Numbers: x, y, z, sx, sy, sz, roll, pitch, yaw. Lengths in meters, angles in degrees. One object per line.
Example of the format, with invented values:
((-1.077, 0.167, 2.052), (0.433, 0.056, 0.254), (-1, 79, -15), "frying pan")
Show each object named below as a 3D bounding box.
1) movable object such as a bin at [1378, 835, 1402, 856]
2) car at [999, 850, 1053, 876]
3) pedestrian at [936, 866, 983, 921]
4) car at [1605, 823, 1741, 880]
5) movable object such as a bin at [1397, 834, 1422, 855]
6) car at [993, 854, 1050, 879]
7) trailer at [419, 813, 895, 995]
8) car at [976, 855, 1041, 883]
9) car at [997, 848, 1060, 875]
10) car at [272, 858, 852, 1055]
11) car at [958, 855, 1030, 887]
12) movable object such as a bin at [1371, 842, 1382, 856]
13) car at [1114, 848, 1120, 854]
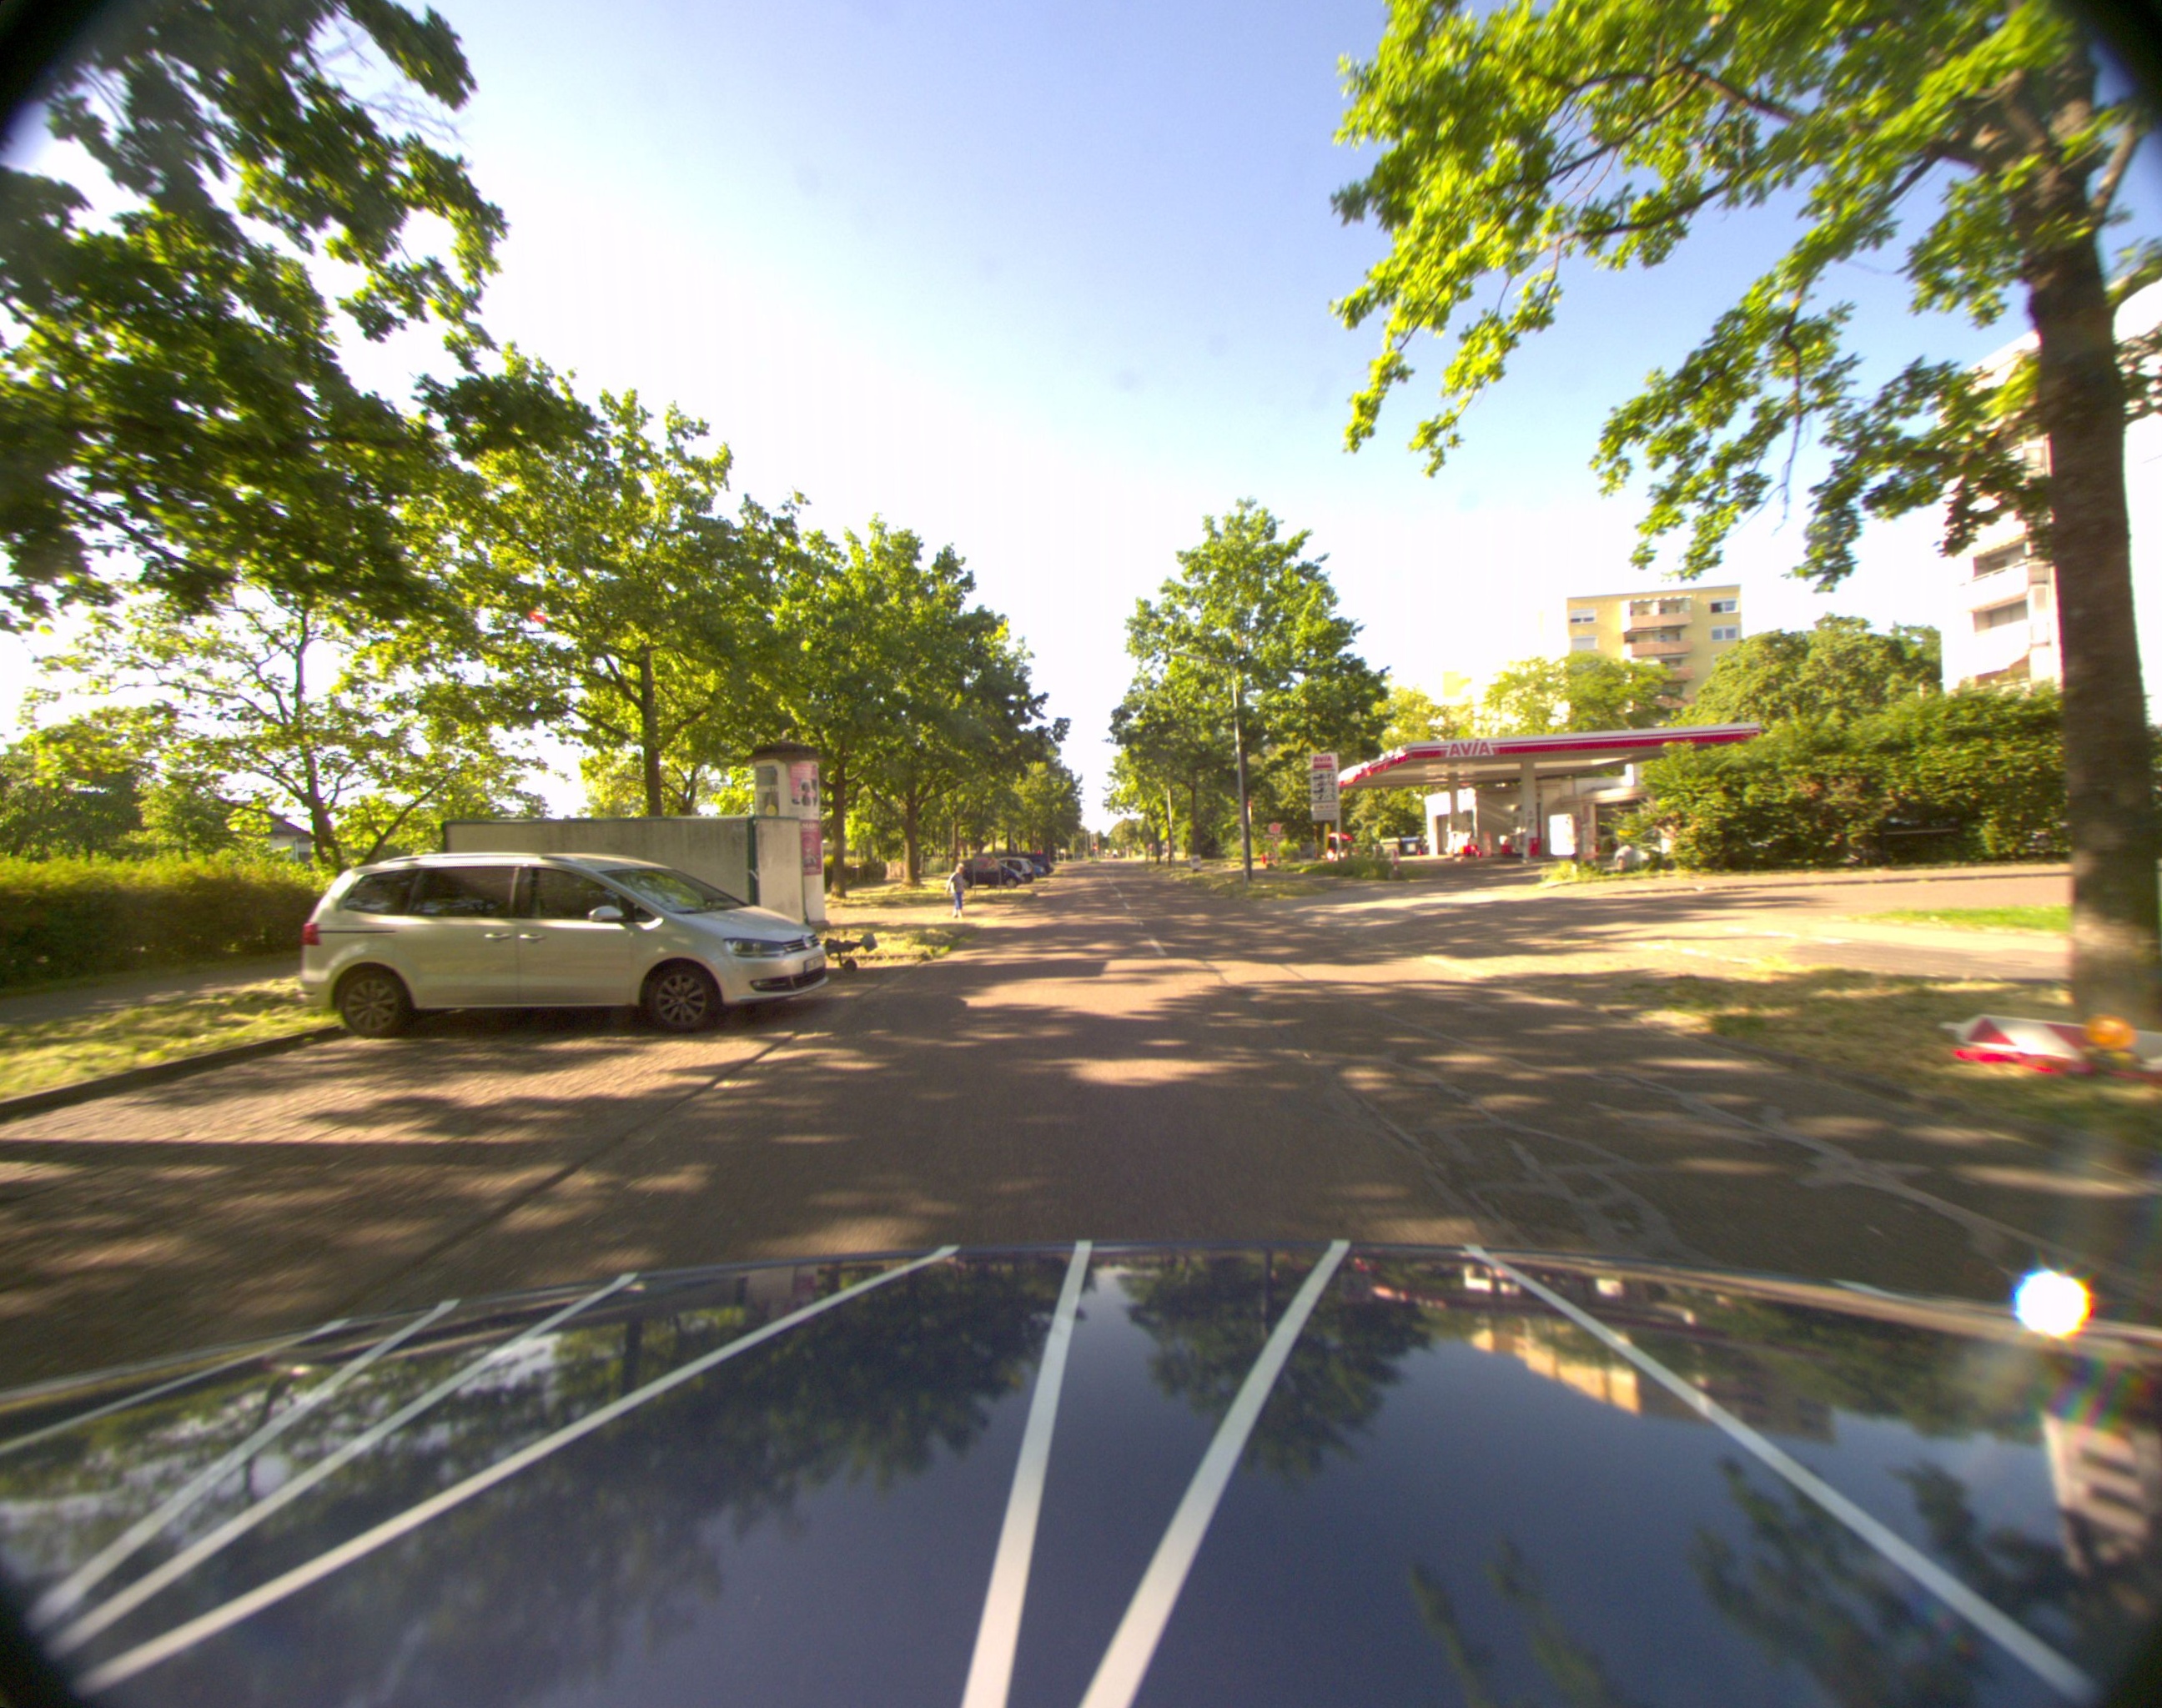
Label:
((23.826, -0.655, 58.586), (1.307, 1.533, 1.268), (-3, 1, 1), "movable object such as a bin")
((-4.153, 0.669, 57.827), (4.019, 1.826, 1.799), (-1, 1, -2), "car")
((-3.448, 1.098, 21.509), (0.940, 1.491, 0.887), (-1, 0, 43), "pedestrian")
((17.171, -0.084, 22.245), (1.549, 1.414, 3.489), (-4, 0, 9), "car")
((25.319, -0.744, 58.545), (1.307, 1.533, 1.164), (-4, 1, 1), "movable object such as a bin")
((-3.861, 0.823, 50.022), (3.529, 1.523, 1.665), (-1, 1, 2), "car")
((-5.743, 0.667, 10.697), (5.788, 2.304, 1.686), (-1, 1, 3), "trailer")
((-4.304, 0.864, 45.354), (3.592, 1.567, 1.786), (-1, 1, 2), "car")
((-4.129, 0.587, 60.088), (4.815, 2.020, 1.944), (-2, 1, 0), "car")
((-5.030, 0.945, 7.896), (4.653, 1.712, 1.987), (-1, 1, 1), "car")
((-4.596, 0.888, 40.423), (3.592, 1.567, 1.857), (-1, 1, 0), "car")
((22.844, -0.374, 58.704), (0.570, 1.079, 0.768), (-3, 1, 1), "movable object such as a bin")
((12.319, -1.133, 259.275), (1.904, 2.082, 3.641), (-1, 0, 1), "car")
